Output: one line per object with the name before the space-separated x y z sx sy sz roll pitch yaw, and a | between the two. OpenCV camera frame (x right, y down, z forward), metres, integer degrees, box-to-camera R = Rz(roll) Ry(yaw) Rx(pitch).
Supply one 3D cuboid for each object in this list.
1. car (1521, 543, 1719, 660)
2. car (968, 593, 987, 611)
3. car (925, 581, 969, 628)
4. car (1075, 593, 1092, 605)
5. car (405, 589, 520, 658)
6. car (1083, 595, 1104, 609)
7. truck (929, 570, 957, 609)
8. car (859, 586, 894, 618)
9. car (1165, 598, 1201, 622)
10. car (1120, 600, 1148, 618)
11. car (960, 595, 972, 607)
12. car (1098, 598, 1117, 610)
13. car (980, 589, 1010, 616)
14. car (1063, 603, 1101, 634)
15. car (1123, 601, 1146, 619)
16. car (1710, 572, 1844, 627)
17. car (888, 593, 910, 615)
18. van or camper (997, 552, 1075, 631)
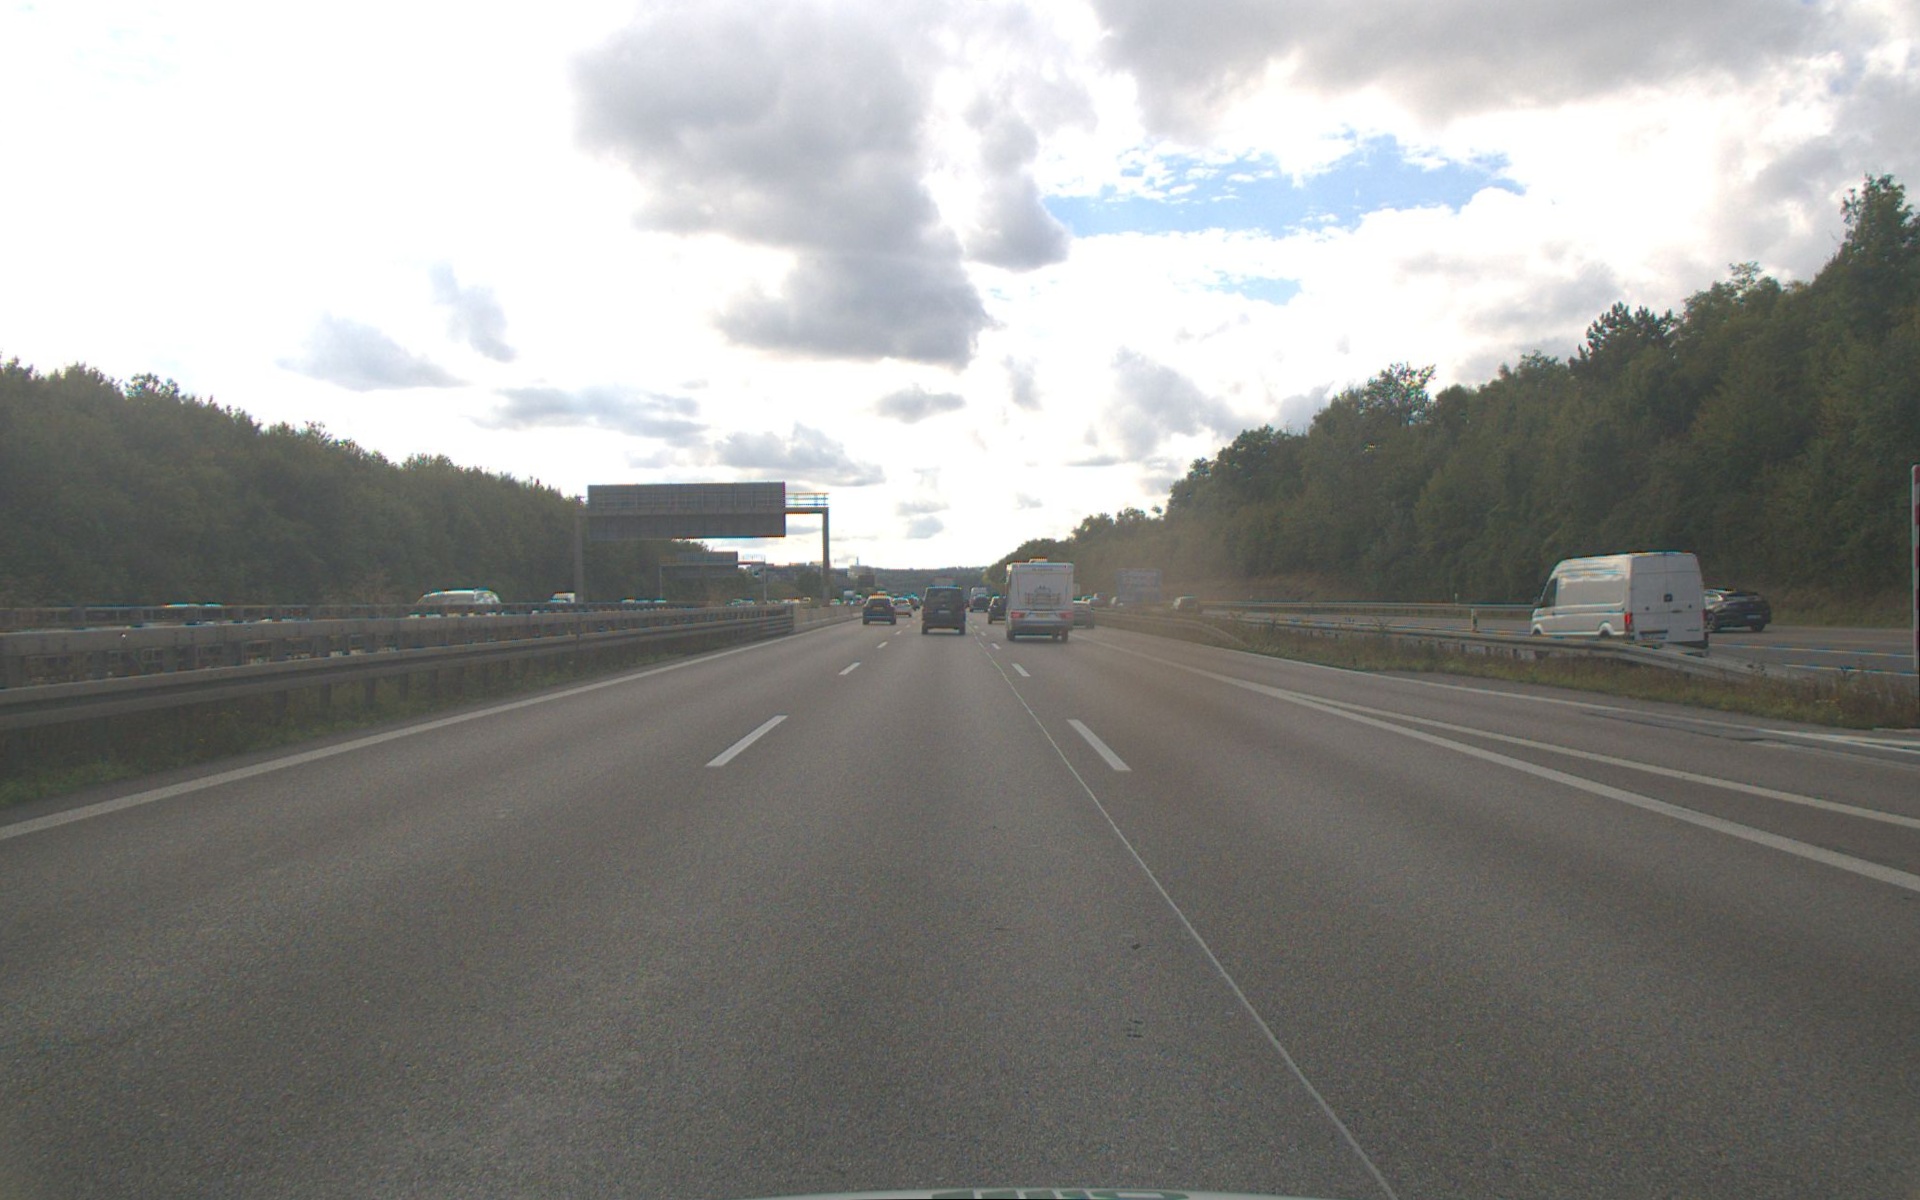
car | 16.051 0.019 40.708 2.028 2.599 6.741 -1 0 -1
car | 1.896 0.181 180.357 1.874 1.952 4.029 0 0 -1
car | -0.582 0.179 70.562 1.817 1.944 4.259 0 0 -1
car | 17.793 -0.144 238.204 1.806 1.510 4.524 -2 0 -2
car | -12.301 0.550 41.147 1.641 1.604 4.172 -1 0 -1
car | 14.877 0.183 184.421 1.806 1.510 4.524 -2 0 -2
truck | -2.034 -1.239 197.969 3.196 4.451 11.024 1 0 -1
car | -4.724 0.113 93.909 1.835 1.728 4.071 0 0 -1
car | 15.371 0.680 114.232 1.806 1.510 4.525 -2 0 -1
car | 15.633 0.757 148.650 1.806 1.510 4.524 -2 0 -2
car | 0.825 0.173 238.931 1.716 1.725 4.189 0 0 -1
car | 18.750 0.513 209.990 1.806 1.510 4.524 -2 0 -2
car | 2.130 0.158 101.400 1.663 1.592 4.112 0 0 -2
car | 6.511 0.962 88.500 1.663 1.639 3.895 0 0 -2
car | 15.605 0.845 148.255 1.509 1.510 3.941 -2 0 -1
car | 26.120 -0.030 53.091 1.806 1.630 4.762 -2 0 -2
car | -4.682 0.279 127.628 1.663 1.639 4.112 0 0 -2
van or camper | 2.764 -0.312 61.978 2.418 2.769 7.660 1 0 -1
